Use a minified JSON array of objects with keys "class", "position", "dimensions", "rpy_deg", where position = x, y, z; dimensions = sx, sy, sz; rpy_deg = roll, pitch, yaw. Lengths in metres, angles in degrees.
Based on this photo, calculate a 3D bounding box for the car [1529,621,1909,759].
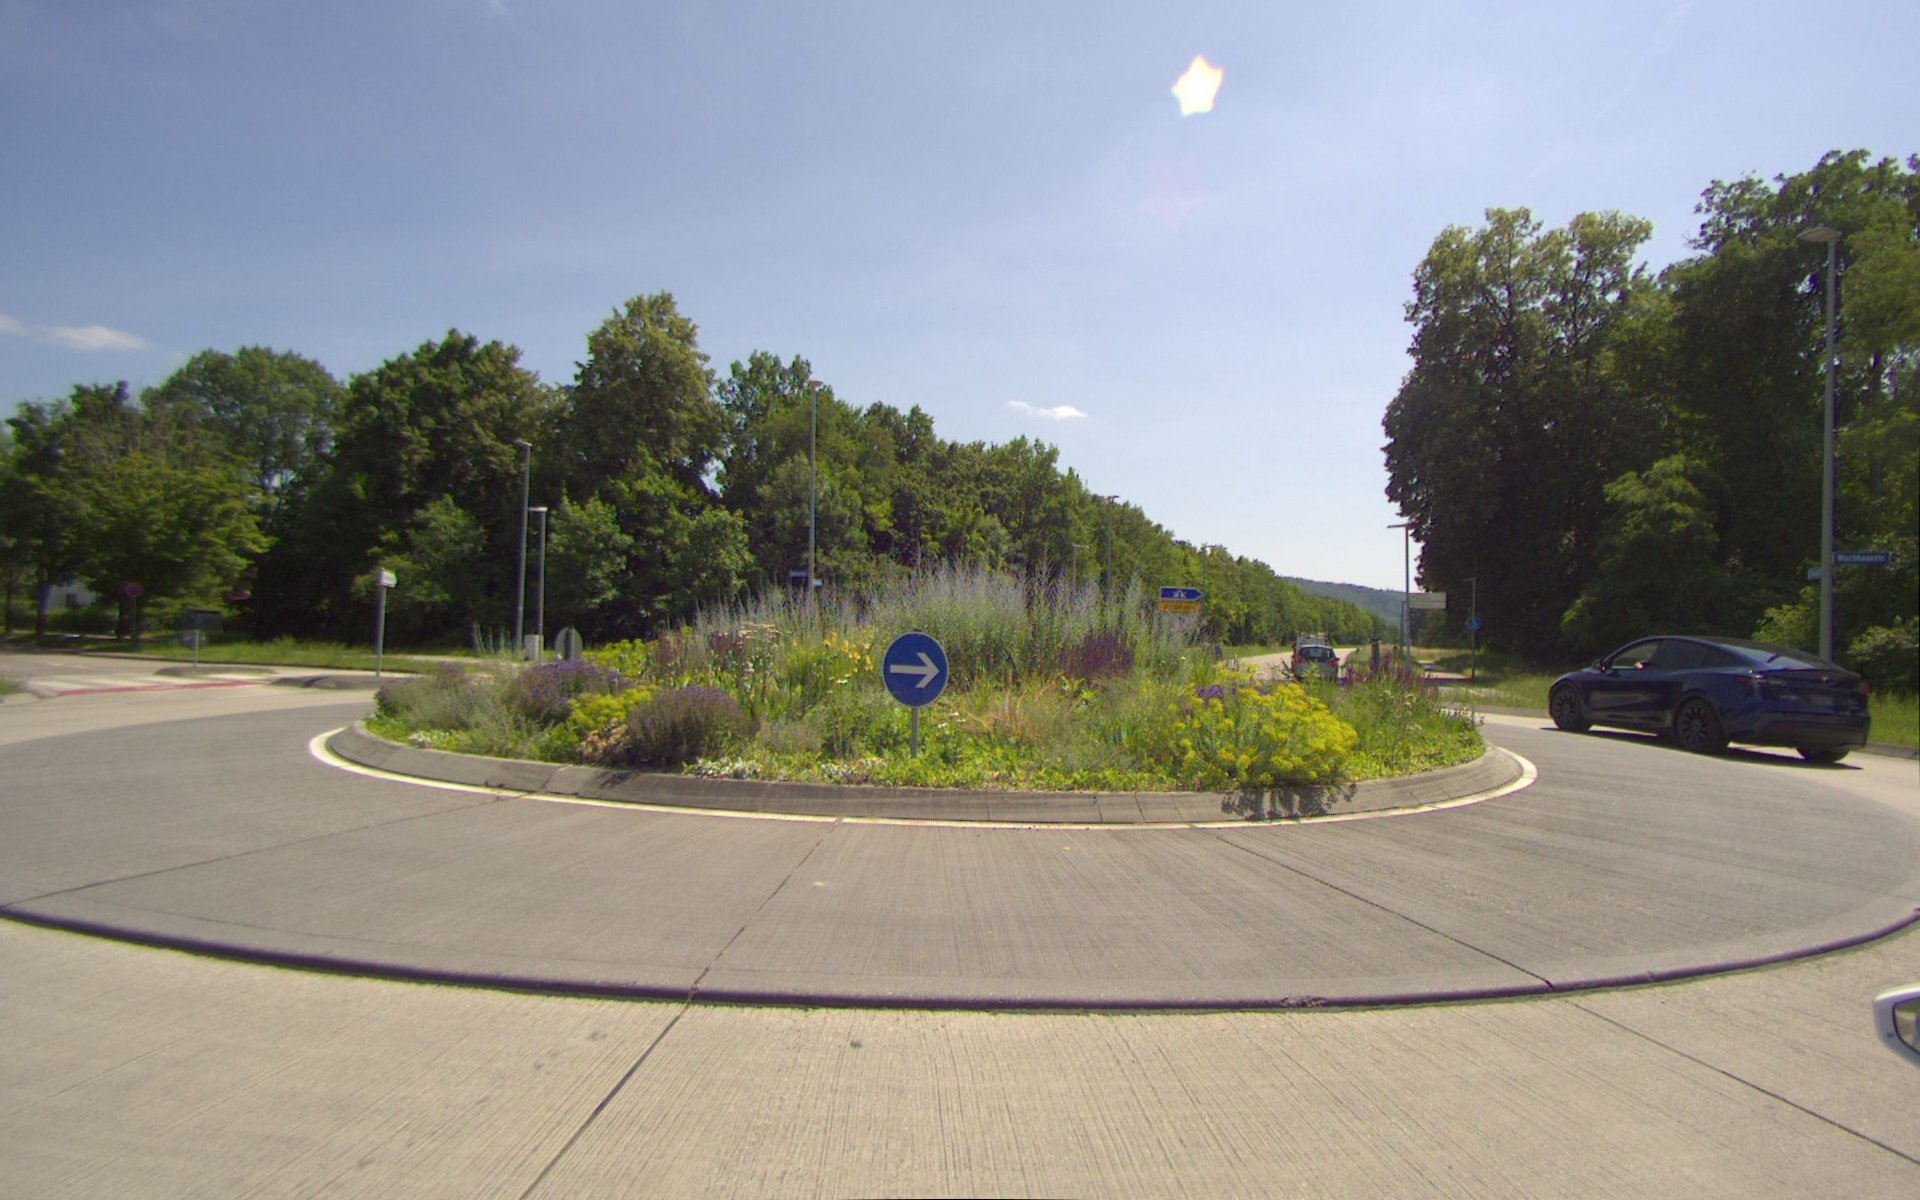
[{"class":"car","position":[10.807,1.187,14.885],"dimensions":[1.961,1.661,4.757],"rpy_deg":[2,-2,-1]}]

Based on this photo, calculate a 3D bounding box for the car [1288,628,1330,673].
[{"class":"car","position":[20.023,2.875,57.629],"dimensions":[2.130,2.346,4.983],"rpy_deg":[2,-2,19]}]

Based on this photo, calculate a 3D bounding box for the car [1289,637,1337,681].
[{"class":"car","position":[14.623,2.416,41.726],"dimensions":[1.755,1.628,4.129],"rpy_deg":[2,-2,18]}]
